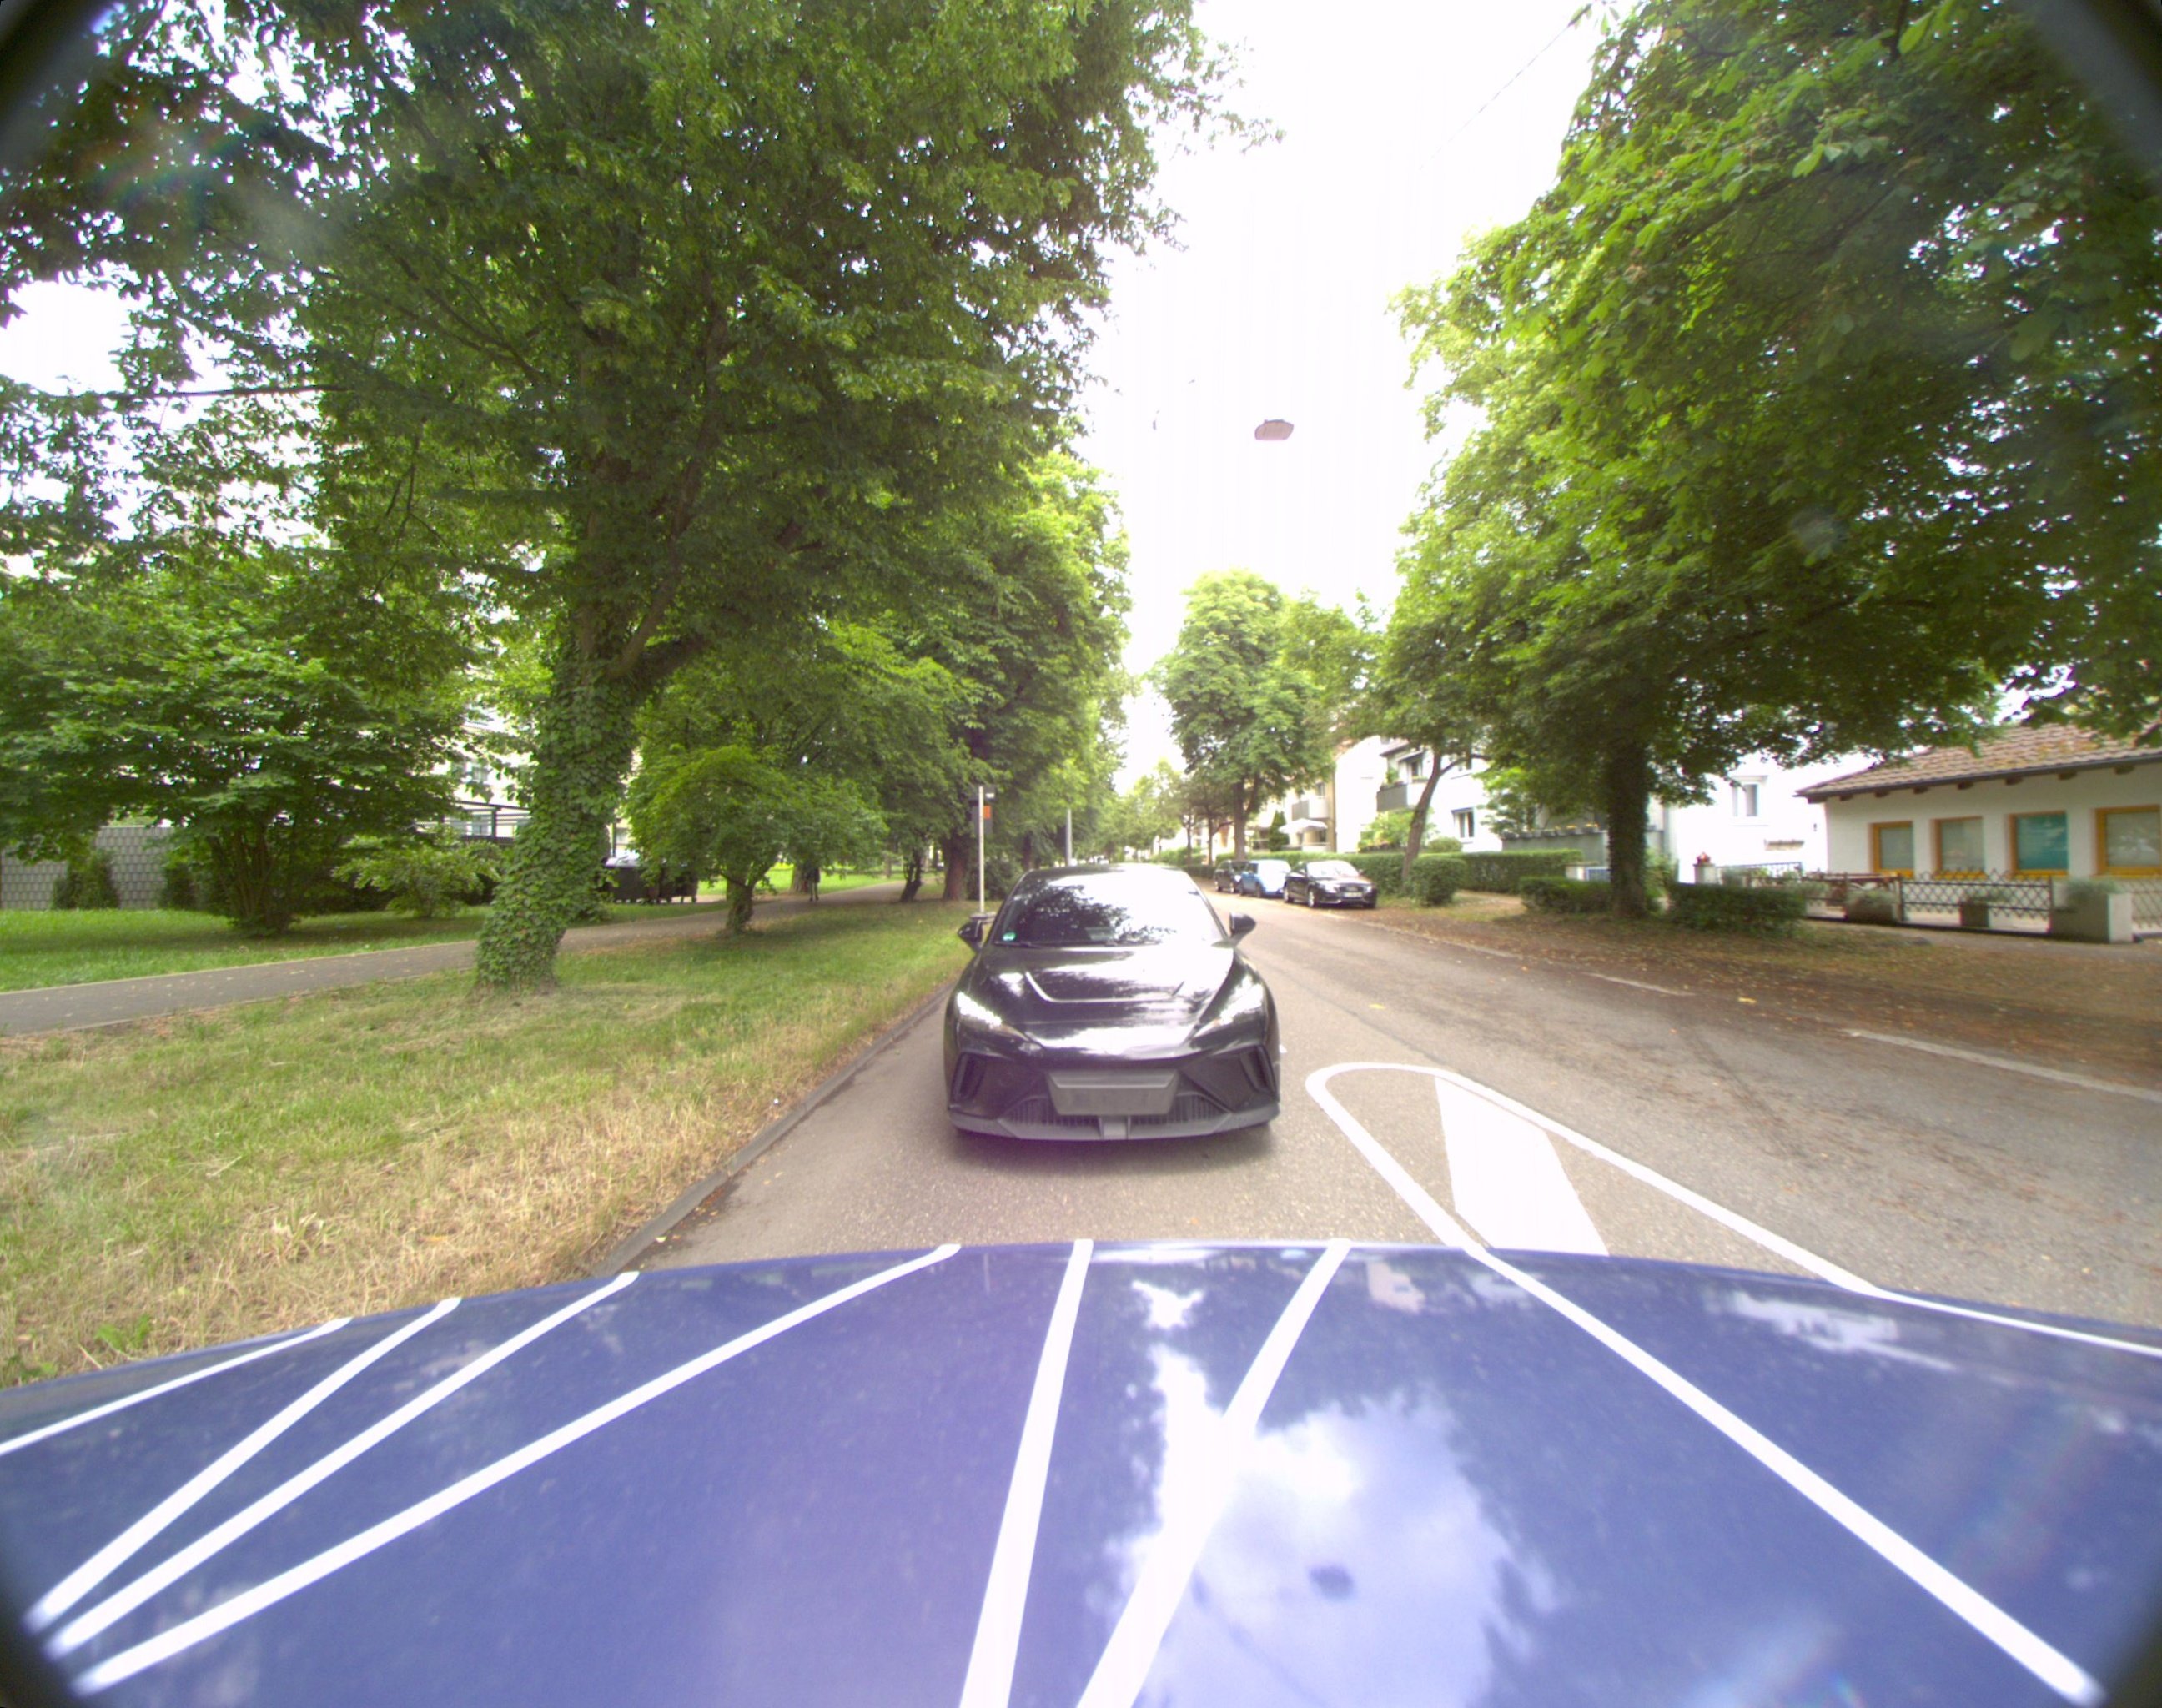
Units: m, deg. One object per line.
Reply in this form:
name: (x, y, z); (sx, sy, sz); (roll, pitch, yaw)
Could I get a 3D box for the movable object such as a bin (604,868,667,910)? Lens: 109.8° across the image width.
movable object such as a bin: (-13.260, 1.020, 22.685); (1.194, 1.213, 1.348); (0, 0, -8)

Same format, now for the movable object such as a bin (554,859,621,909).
movable object such as a bin: (-14.577, 0.863, 22.493); (1.194, 1.448, 1.348); (0, 0, -8)

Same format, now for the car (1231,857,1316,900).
car: (7.202, 0.874, 28.906); (1.889, 1.492, 4.565); (0, 0, -3)

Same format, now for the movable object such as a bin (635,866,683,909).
movable object such as a bin: (-13.245, 1.039, 23.884); (1.026, 1.296, 0.960); (0, 0, -8)

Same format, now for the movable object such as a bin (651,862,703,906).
movable object such as a bin: (-13.248, 0.979, 24.977); (1.194, 1.405, 1.110); (0, 0, -8)

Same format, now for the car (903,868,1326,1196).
car: (0.182, 0.890, 5.906); (1.998, 1.491, 4.615); (0, 0, 1)

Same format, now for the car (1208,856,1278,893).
car: (7.071, 0.875, 33.659); (1.889, 1.524, 4.565); (0, 0, -3)

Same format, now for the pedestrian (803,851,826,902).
pedestrian: (-9.100, 0.761, 25.927); (0.565, 1.730, 0.570); (1, 0, 0)

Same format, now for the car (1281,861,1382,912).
car: (7.401, 0.910, 22.884); (1.735, 1.394, 4.172); (0, 0, 1)

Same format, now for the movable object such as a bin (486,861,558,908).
movable object such as a bin: (-16.518, 0.887, 22.490); (1.194, 1.334, 1.348); (0, 0, -8)
